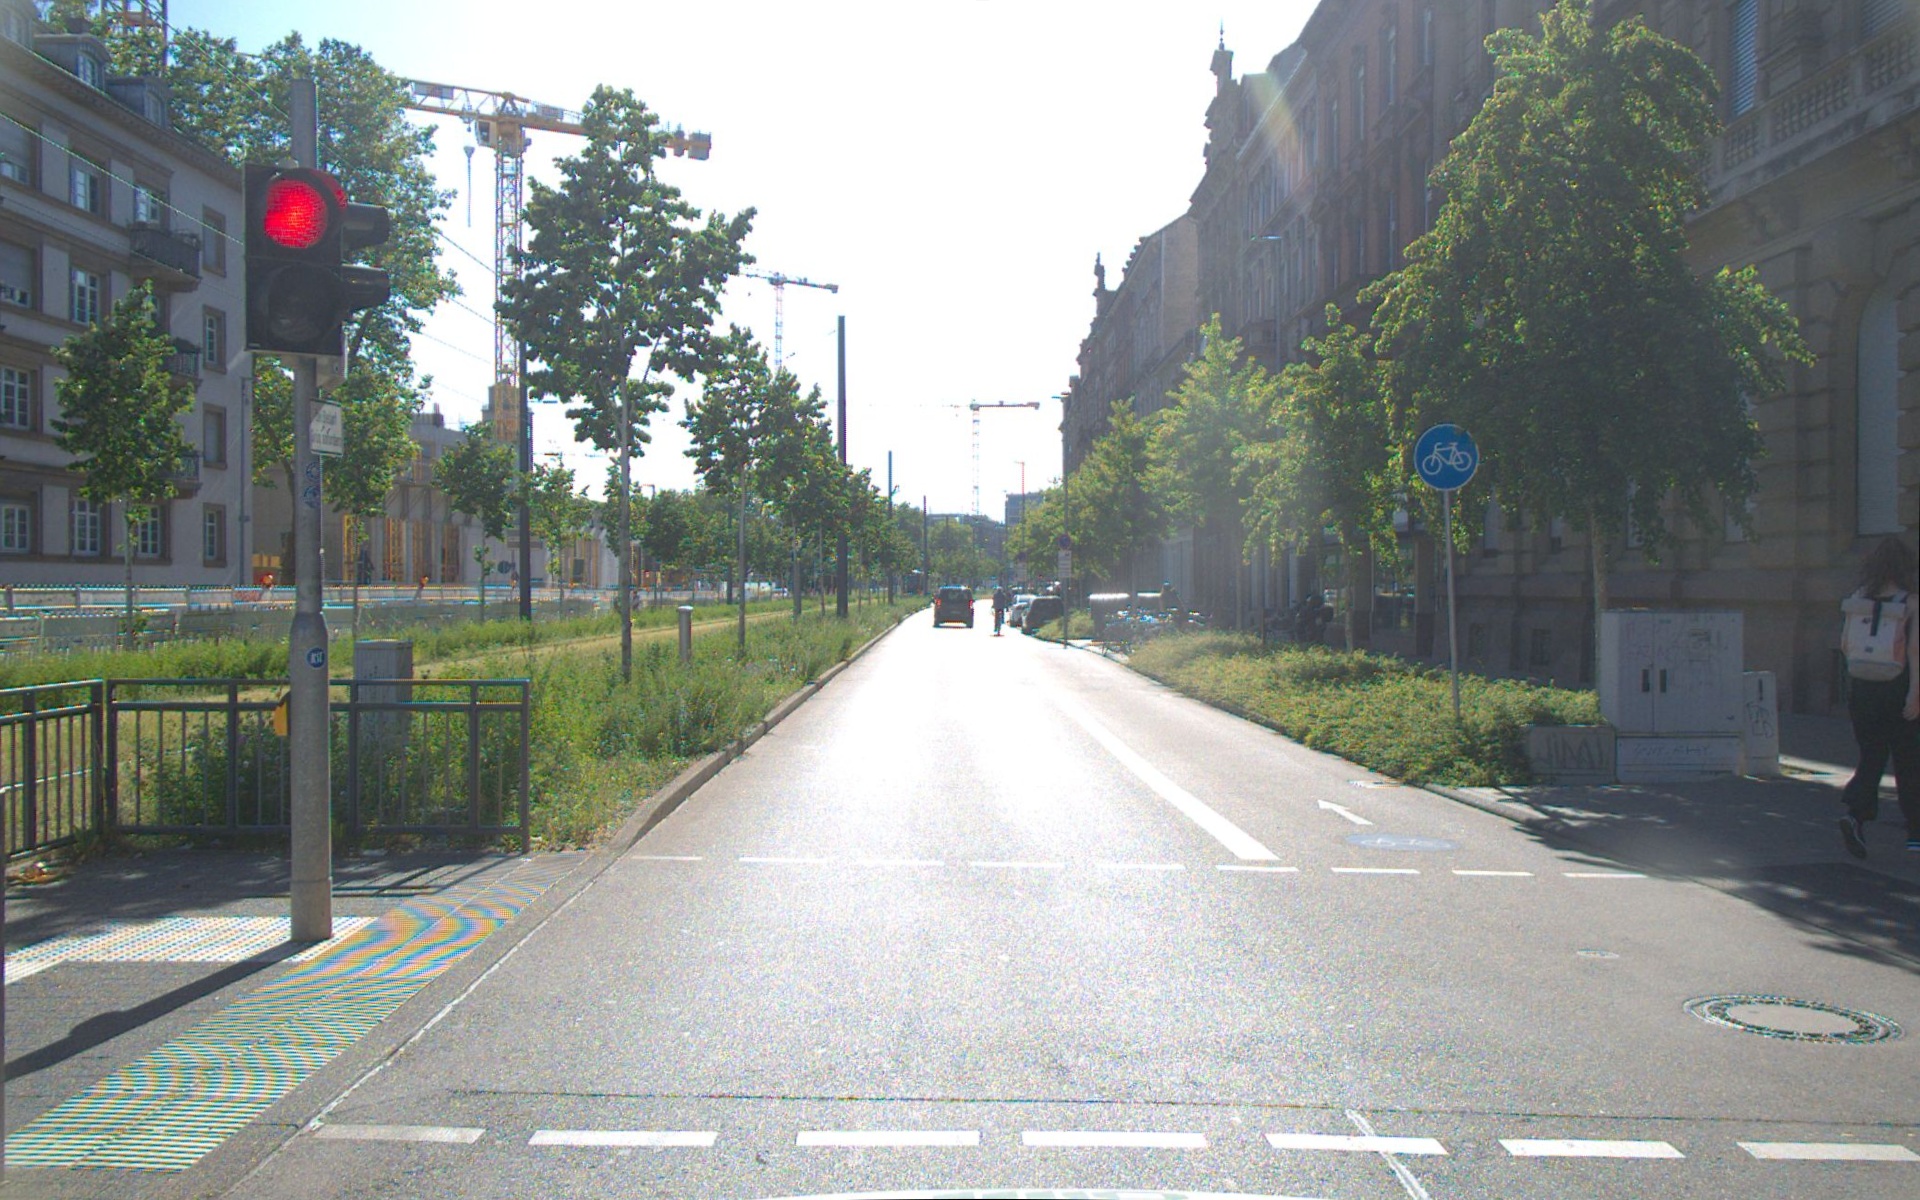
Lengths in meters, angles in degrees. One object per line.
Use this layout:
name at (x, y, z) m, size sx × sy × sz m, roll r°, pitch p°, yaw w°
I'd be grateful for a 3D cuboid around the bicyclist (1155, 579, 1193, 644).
bicyclist at (5.349, 0.284, 41.316) m, size 0.781 × 1.556 × 0.663 m, roll -4°, pitch 0°, yaw 3°

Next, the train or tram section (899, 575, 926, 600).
train or tram section at (-5.636, -1.507, 198.245) m, size 2.699 × 2.790 × 9.864 m, roll 1°, pitch 0°, yaw 1°

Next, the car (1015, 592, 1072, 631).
car at (3.376, 0.455, 67.406) m, size 1.987 × 1.525 × 4.653 m, roll 0°, pitch 0°, yaw -1°

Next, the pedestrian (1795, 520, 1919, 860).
pedestrian at (5.692, 0.509, 10.000) m, size 1.062 × 1.942 × 0.648 m, roll 0°, pitch 0°, yaw -26°

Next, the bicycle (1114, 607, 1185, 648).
bicycle at (4.867, 0.705, 42.557) m, size 1.756 × 1.048 × 0.527 m, roll 0°, pitch 0°, yaw -1°

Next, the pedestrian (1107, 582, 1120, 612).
pedestrian at (8.297, -0.173, 89.511) m, size 0.601 × 1.640 × 0.669 m, roll 0°, pitch 0°, yaw -1°

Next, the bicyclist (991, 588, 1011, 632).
bicyclist at (1.588, 0.381, 64.452) m, size 0.670 × 1.702 × 0.922 m, roll 2°, pitch 0°, yaw -2°

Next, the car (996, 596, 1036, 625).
car at (3.093, 0.558, 92.329) m, size 1.987 × 1.525 × 4.529 m, roll 0°, pitch 0°, yaw -1°

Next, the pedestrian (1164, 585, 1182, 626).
pedestrian at (8.524, 0.214, 66.163) m, size 0.601 × 1.640 × 0.669 m, roll 0°, pitch 0°, yaw -1°

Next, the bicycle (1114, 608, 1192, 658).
bicycle at (4.622, 0.777, 39.647) m, size 1.756 × 1.048 × 0.527 m, roll -4°, pitch 0°, yaw -1°

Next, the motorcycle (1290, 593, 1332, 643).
motorcycle at (9.383, 0.464, 44.282) m, size 0.686 × 1.289 × 1.981 m, roll 0°, pitch 0°, yaw -1°

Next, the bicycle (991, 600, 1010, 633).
bicycle at (1.569, 0.637, 64.154) m, size 0.589 × 1.201 × 1.869 m, roll 2°, pitch 0°, yaw -1°

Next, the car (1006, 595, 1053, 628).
car at (3.340, 0.513, 79.805) m, size 1.987 × 1.525 × 4.529 m, roll 0°, pitch 0°, yaw -1°

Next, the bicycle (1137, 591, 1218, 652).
bicycle at (5.428, 0.527, 41.337) m, size 1.854 × 1.353 × 0.617 m, roll -4°, pitch 0°, yaw 3°

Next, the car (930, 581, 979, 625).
car at (-0.292, 0.116, 76.365) m, size 2.155 × 1.960 × 4.653 m, roll 0°, pitch 0°, yaw -1°

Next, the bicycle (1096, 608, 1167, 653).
bicycle at (4.563, 0.800, 43.991) m, size 1.756 × 1.048 × 0.527 m, roll -4°, pitch 0°, yaw -1°

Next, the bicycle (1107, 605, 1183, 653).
bicycle at (4.591, 0.712, 41.045) m, size 1.756 × 1.048 × 0.527 m, roll -4°, pitch 0°, yaw -1°
